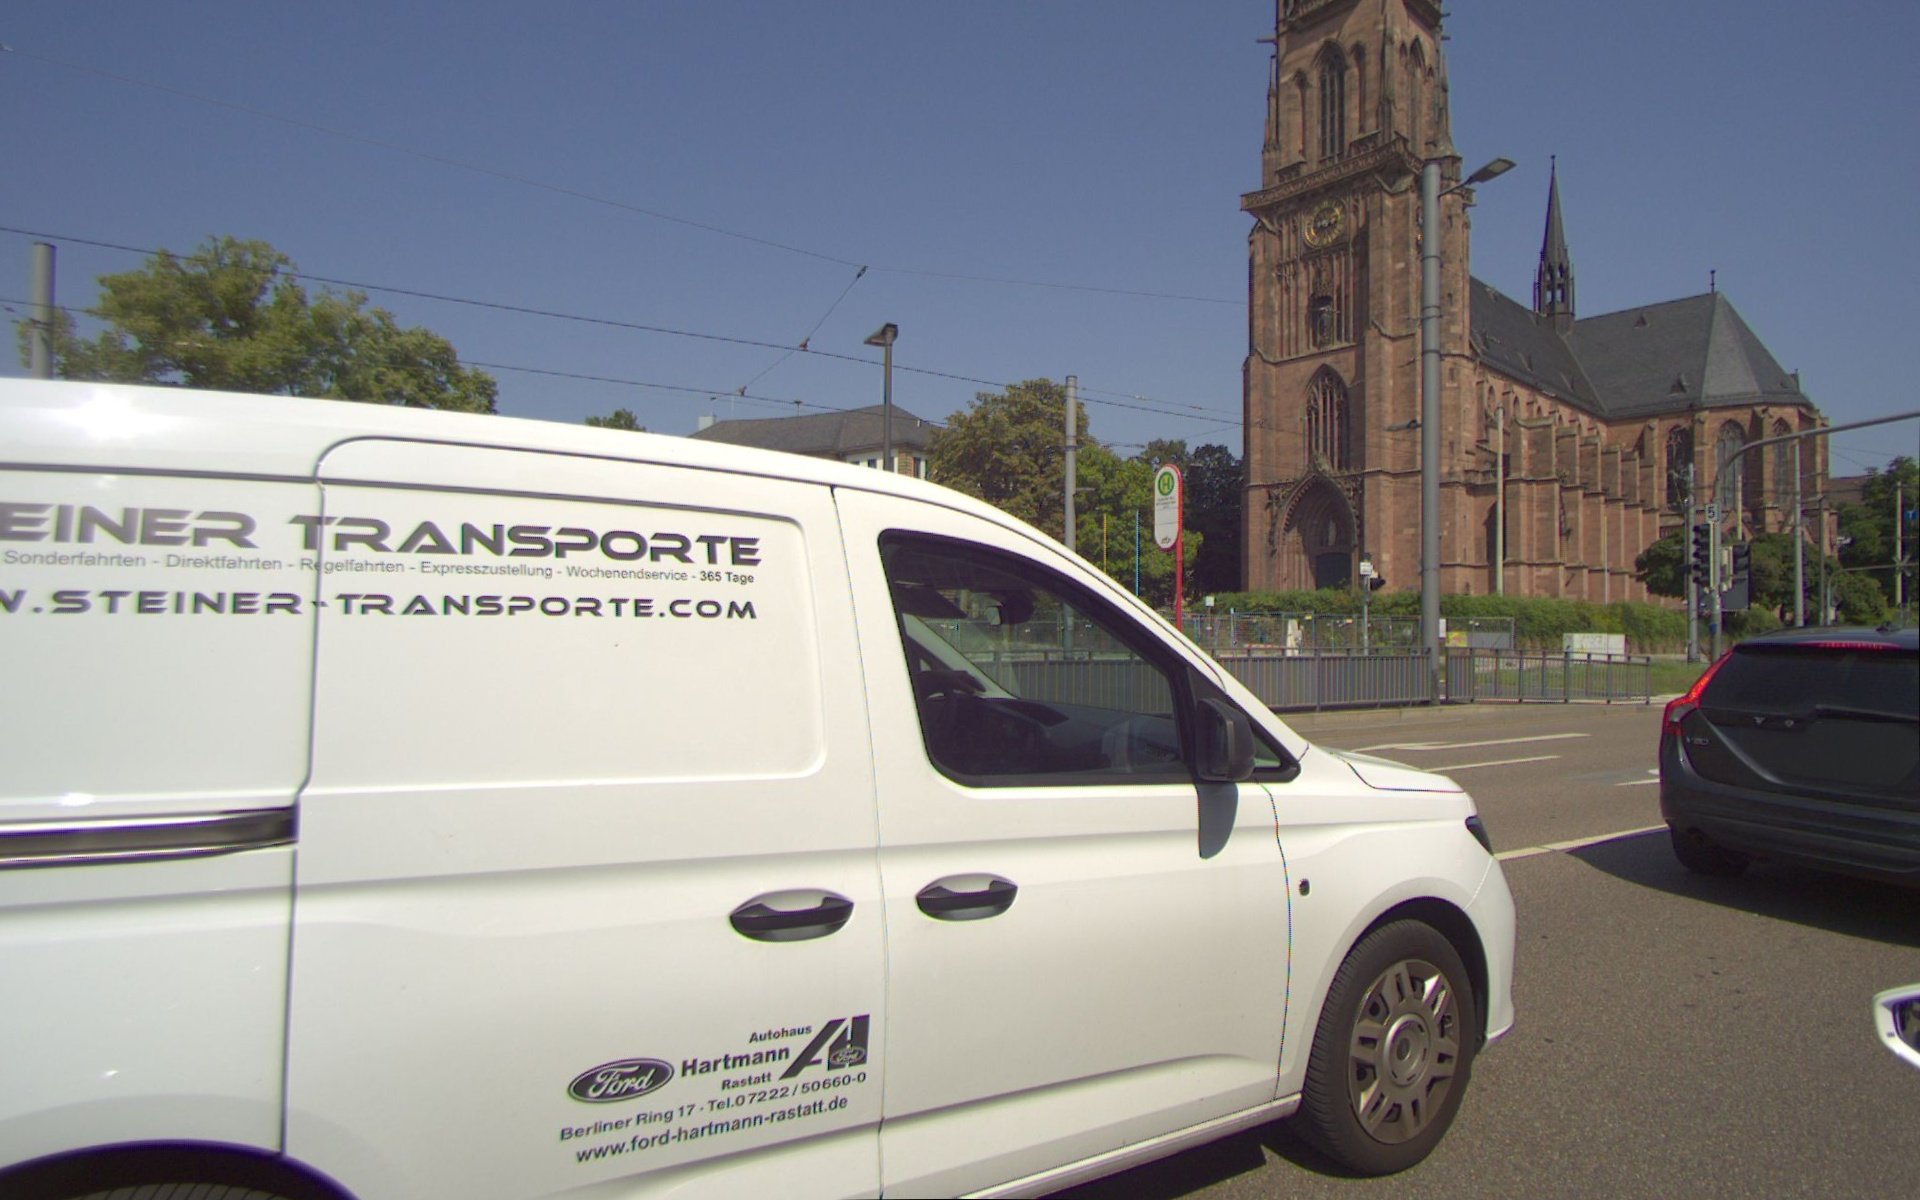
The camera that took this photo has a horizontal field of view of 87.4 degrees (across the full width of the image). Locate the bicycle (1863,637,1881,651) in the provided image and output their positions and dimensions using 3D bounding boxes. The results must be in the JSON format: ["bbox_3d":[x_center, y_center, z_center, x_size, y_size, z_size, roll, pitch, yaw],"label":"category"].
[{"bbox_3d":[60.723,2.922,66.884,1.457,0.871,0.452,1,-2,-29],"label":"bicycle"}]

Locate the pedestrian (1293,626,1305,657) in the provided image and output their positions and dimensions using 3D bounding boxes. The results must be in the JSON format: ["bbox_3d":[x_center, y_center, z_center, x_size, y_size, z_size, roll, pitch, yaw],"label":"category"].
[{"bbox_3d":[17.556,2.140,51.979,0.534,1.551,0.435,0,-1,23],"label":"pedestrian"}]

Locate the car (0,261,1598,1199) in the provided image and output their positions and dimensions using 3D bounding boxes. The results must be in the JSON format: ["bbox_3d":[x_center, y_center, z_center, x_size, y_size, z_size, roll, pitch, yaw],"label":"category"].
[{"bbox_3d":[-0.322,0.543,2.723,4.189,1.844,1.739,1,-1,-30],"label":"car"}]

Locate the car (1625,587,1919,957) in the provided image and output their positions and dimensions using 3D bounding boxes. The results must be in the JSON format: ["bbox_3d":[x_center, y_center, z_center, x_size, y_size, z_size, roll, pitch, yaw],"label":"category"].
[{"bbox_3d":[5.918,0.797,5.821,4.257,1.636,1.739,1,0,-30],"label":"car"}]

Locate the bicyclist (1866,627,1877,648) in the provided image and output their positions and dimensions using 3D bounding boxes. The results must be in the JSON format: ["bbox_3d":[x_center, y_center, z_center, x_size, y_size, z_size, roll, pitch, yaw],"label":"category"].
[{"bbox_3d":[60.717,2.494,66.892,0.419,1.339,0.446,1,-2,-28],"label":"bicyclist"}]
